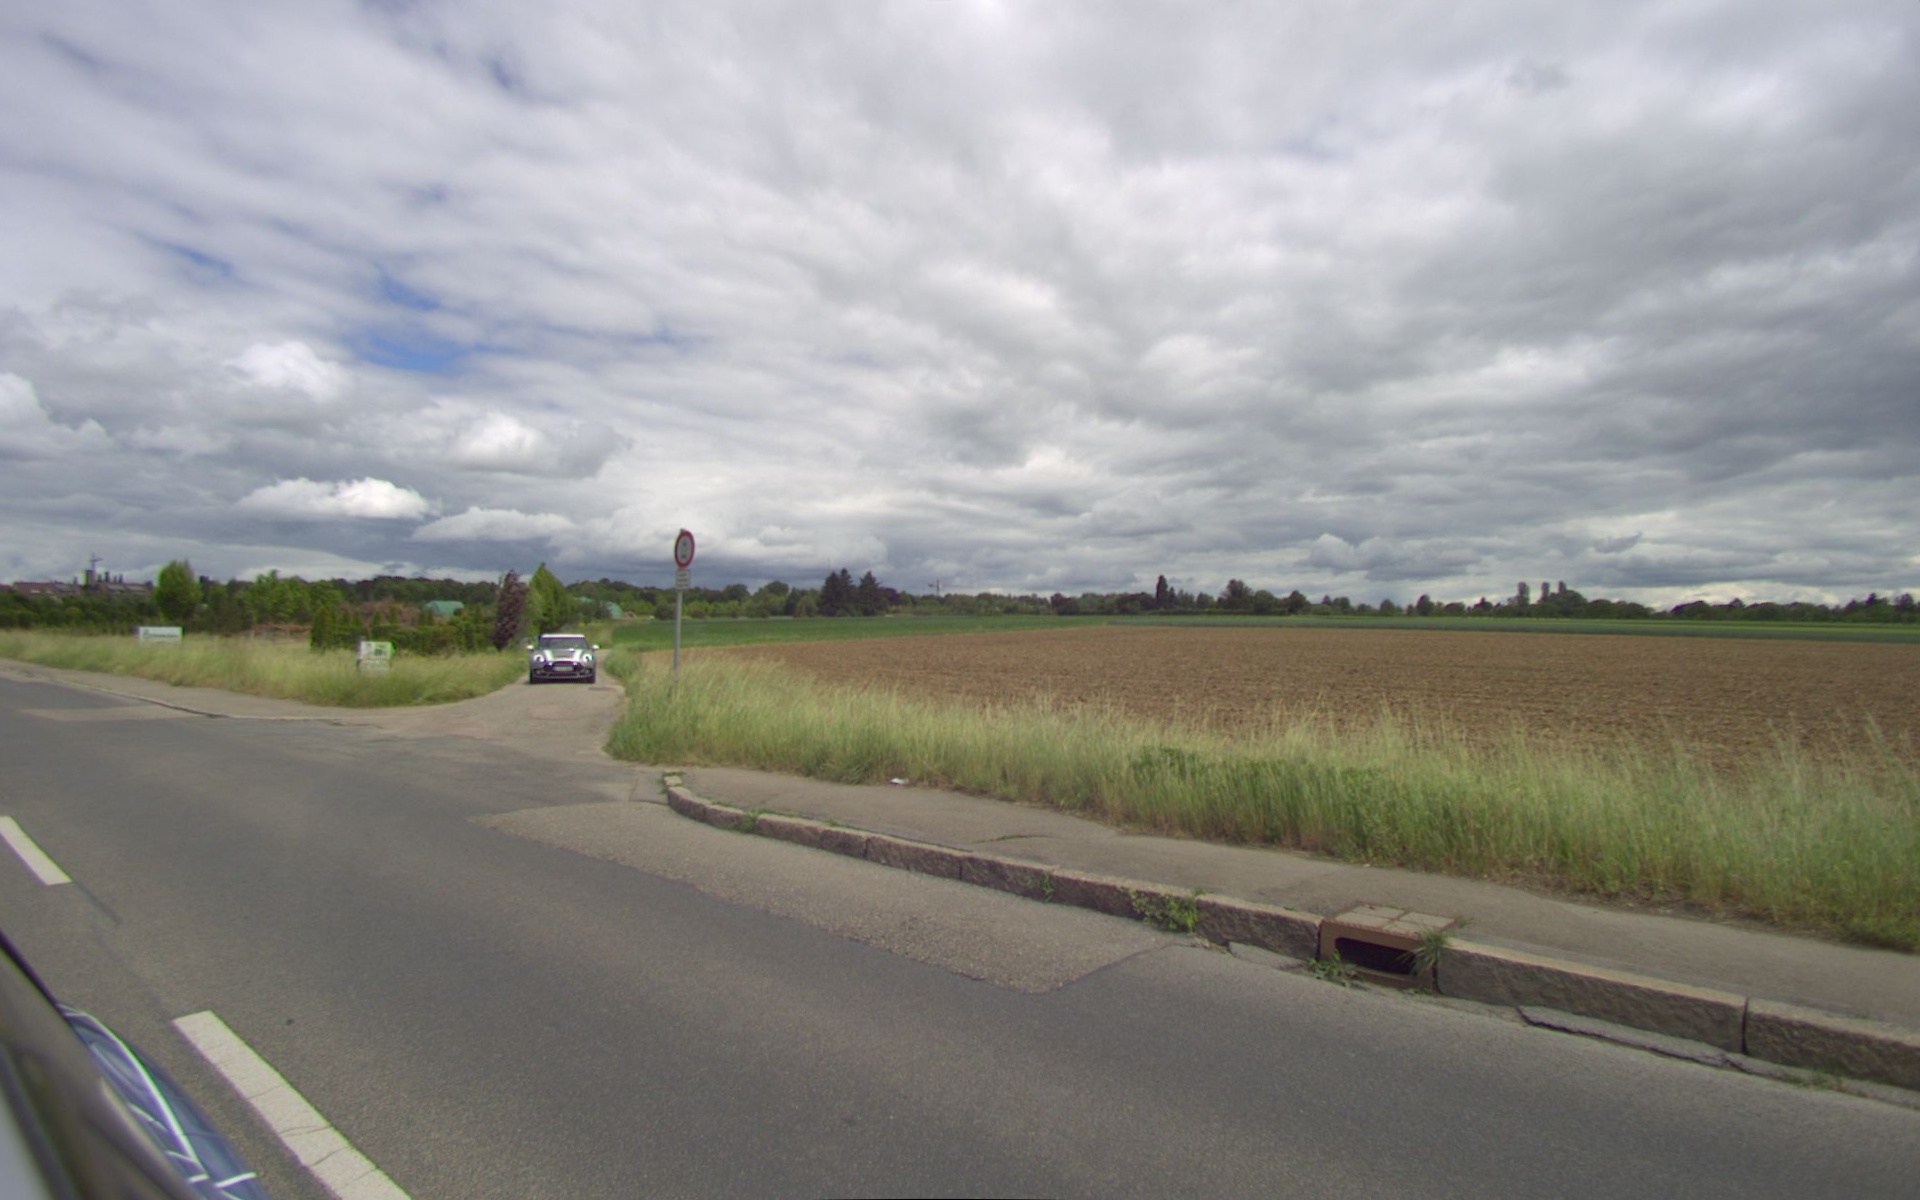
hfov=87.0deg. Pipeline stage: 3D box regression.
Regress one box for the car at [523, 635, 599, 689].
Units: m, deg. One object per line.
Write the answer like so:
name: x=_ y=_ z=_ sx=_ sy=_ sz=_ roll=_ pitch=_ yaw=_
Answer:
car: x=-11.777 y=1.768 z=29.865 sx=1.941 sy=1.465 sz=4.013 roll=1 pitch=-2 yaw=-22
